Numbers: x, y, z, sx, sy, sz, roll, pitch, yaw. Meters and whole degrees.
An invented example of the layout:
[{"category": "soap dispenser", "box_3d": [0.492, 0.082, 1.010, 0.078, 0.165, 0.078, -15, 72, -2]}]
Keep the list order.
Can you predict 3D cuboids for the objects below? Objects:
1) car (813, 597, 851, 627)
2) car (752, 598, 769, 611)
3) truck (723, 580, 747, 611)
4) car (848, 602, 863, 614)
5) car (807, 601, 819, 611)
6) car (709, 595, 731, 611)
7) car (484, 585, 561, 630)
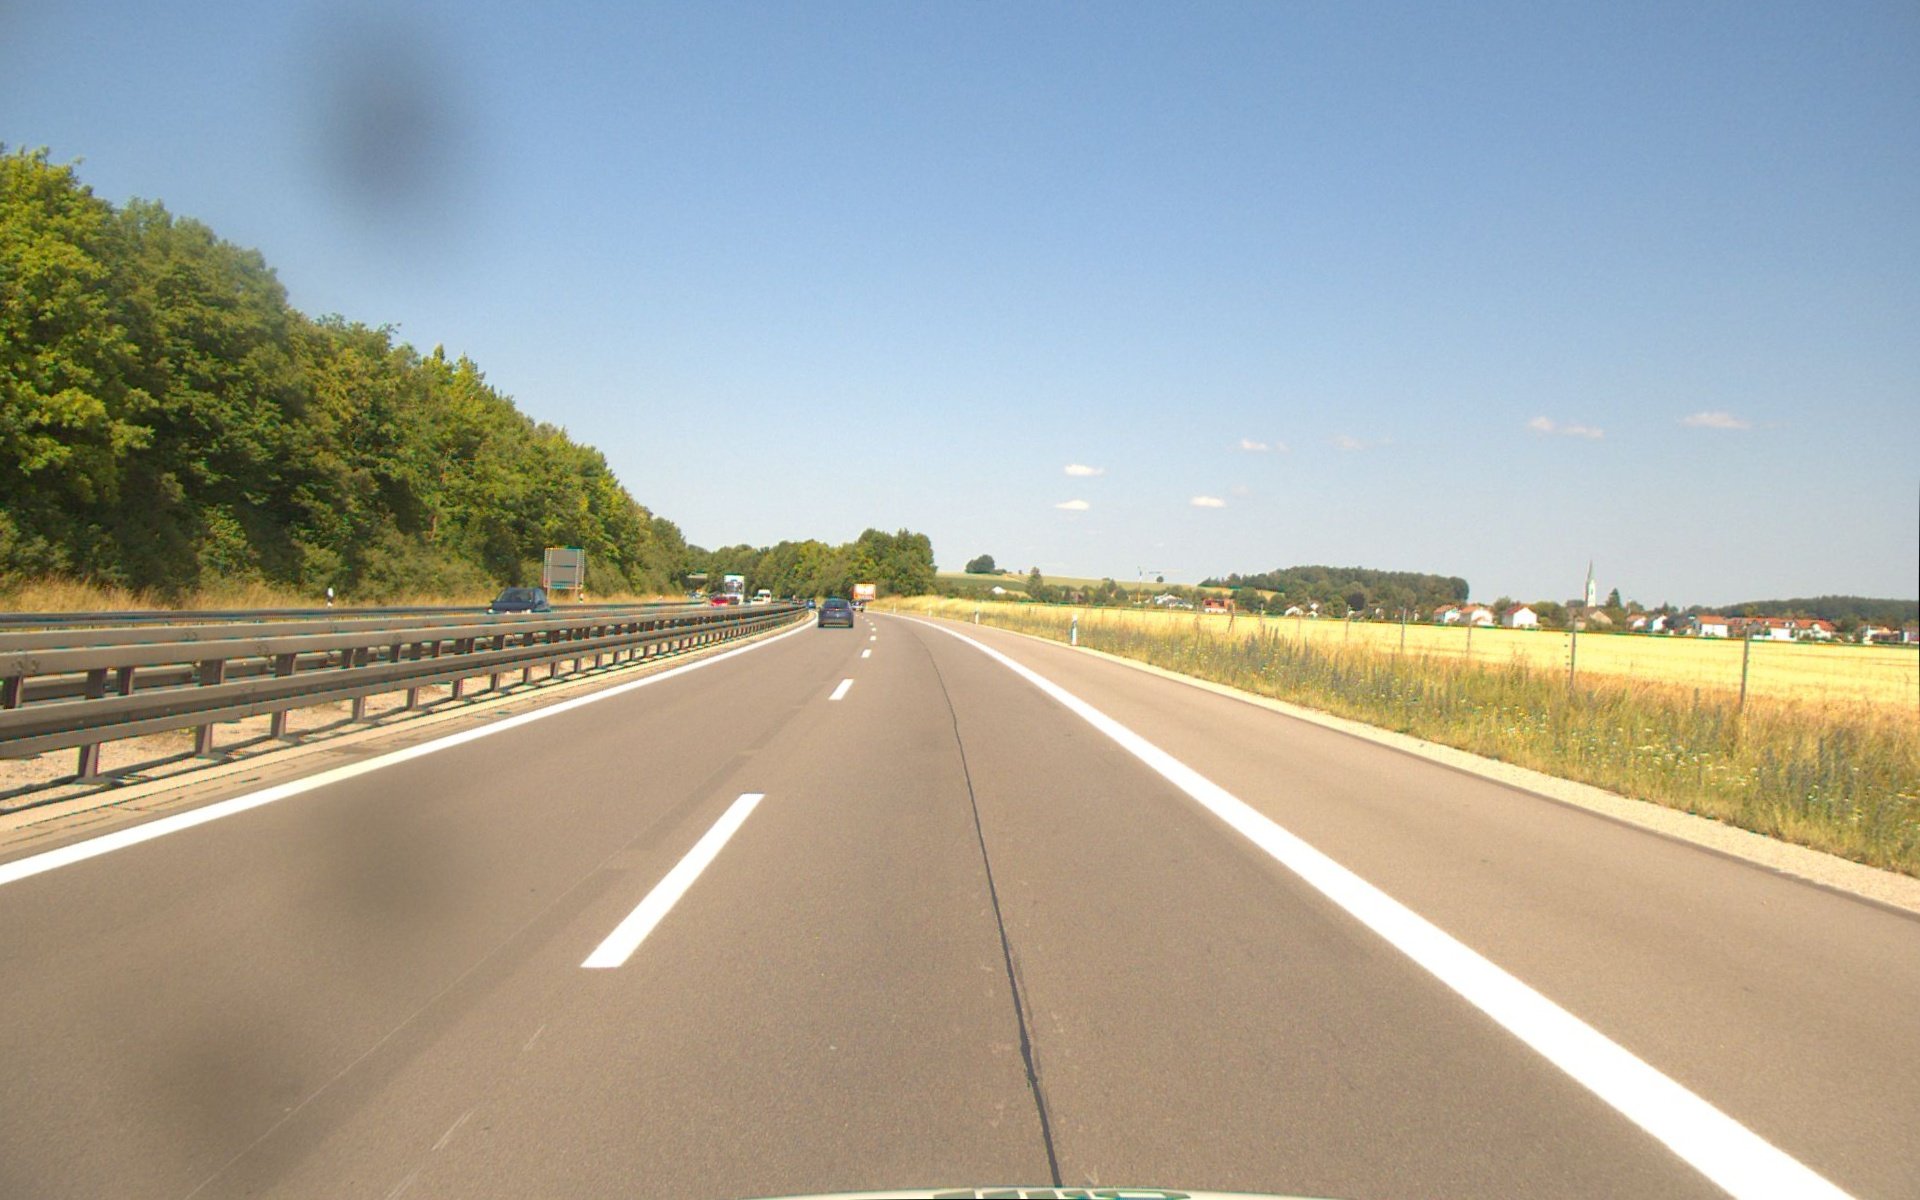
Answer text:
[{"category": "car", "box_3d": [-6.660, 0.611, 86.633, 1.810, 1.458, 5.863, 1, 0, -3]}, {"category": "car", "box_3d": [-23.957, 0.572, 198.823, 1.652, 1.509, 4.973, 2, 0, -4]}, {"category": "truck", "box_3d": [-29.167, -0.594, 214.797, 2.692, 3.896, 5.905, 2, 0, -5]}, {"category": "car", "box_3d": [-12.684, 0.968, 200.536, 1.643, 1.478, 3.588, 2, 0, -6]}, {"category": "car", "box_3d": [-22.290, 0.887, 250.410, 1.643, 1.478, 3.589, 2, 0, -4]}, {"category": "car", "box_3d": [-22.591, 0.249, 155.501, 1.639, 1.463, 4.139, 2, 0, -3]}, {"category": "car", "box_3d": [-16.674, 0.262, 63.291, 1.774, 1.582, 4.847, 2, 0, -2]}]
